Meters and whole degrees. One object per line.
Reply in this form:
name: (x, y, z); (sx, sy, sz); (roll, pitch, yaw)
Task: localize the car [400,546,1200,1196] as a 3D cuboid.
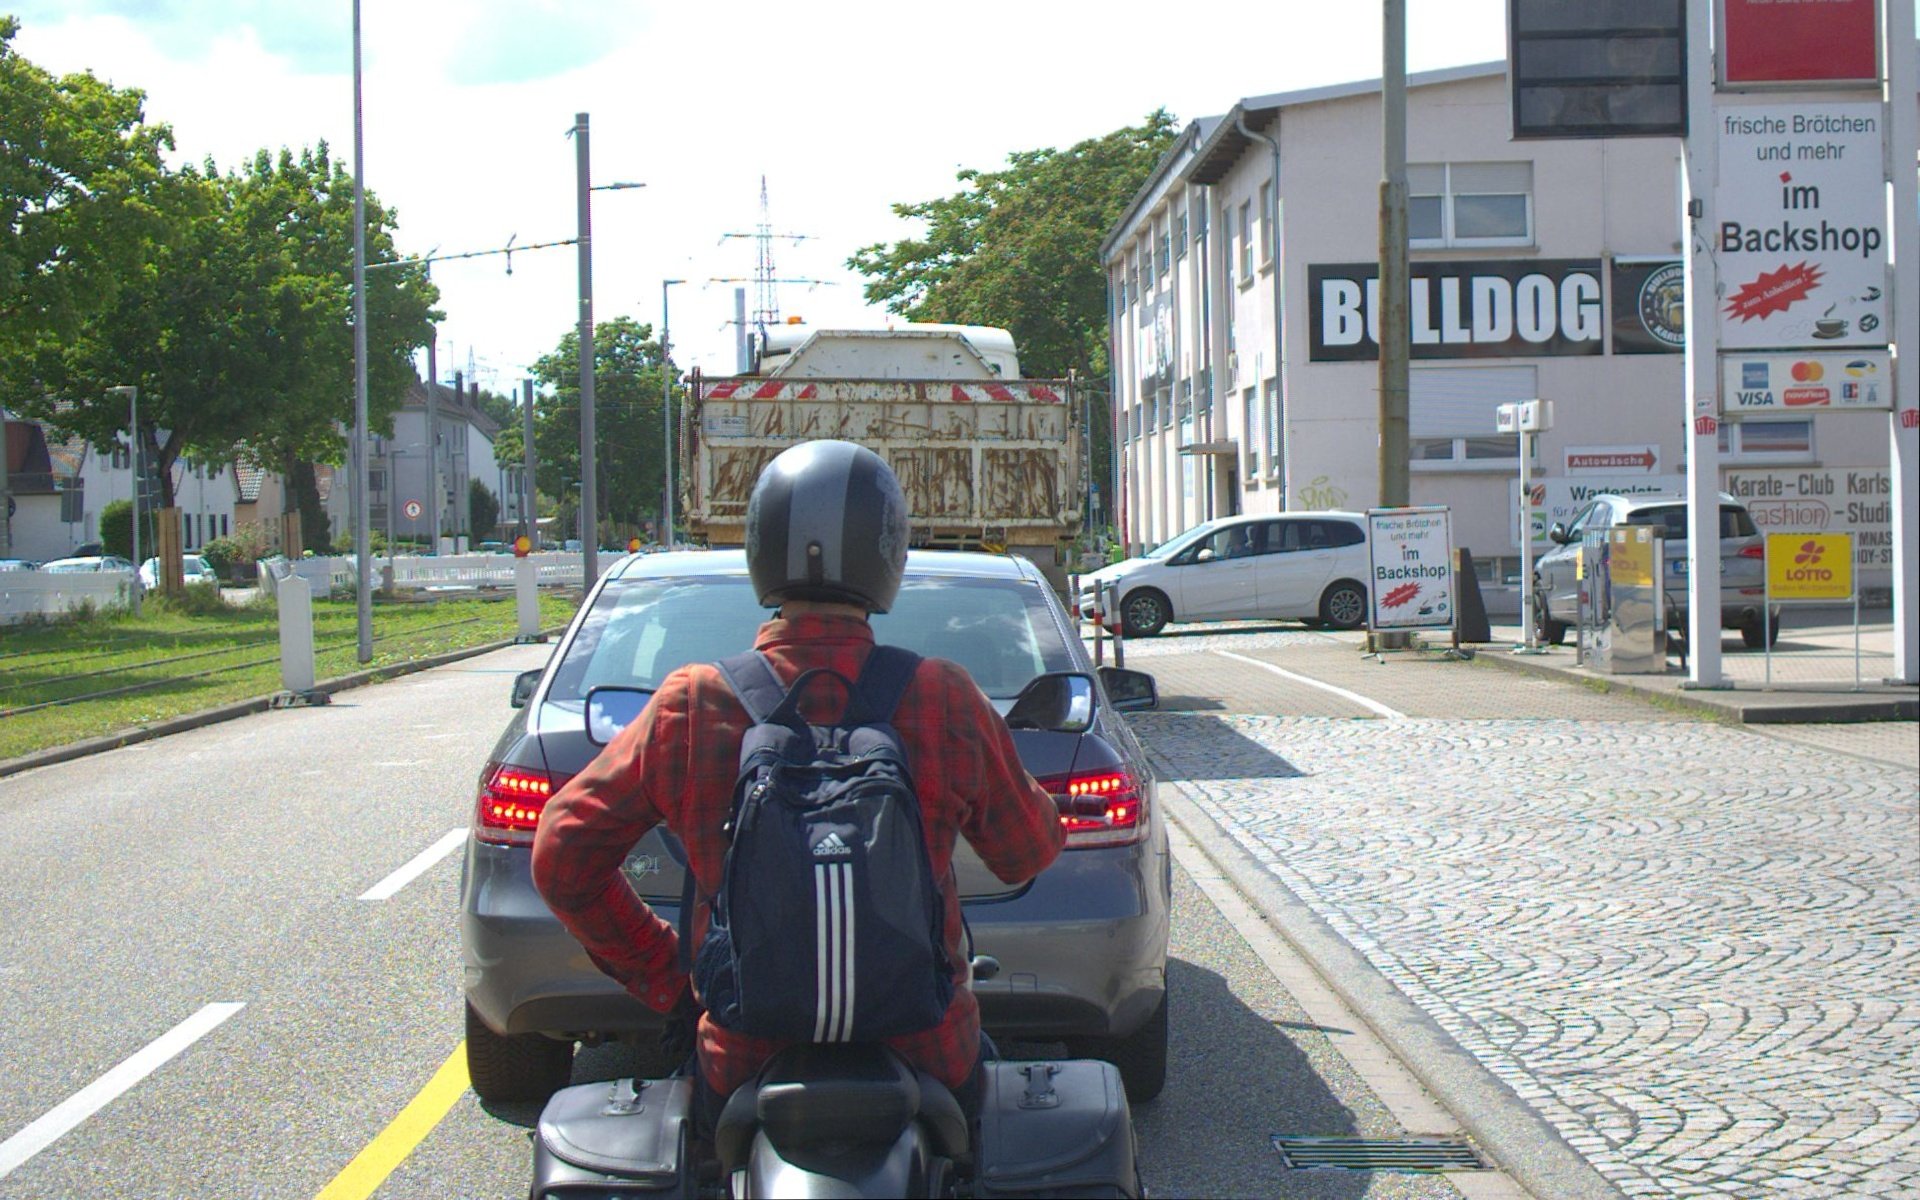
car: (-0.392, 0.595, 9.917); (1.823, 1.447, 4.000); (1, 1, -1)

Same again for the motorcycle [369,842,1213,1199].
motorcycle: (-0.204, 0.955, 5.333); (0.979, 0.894, 2.653); (-1, 1, -1)

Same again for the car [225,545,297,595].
car: (-25.432, -1.104, 125.231); (1.776, 1.717, 4.128); (-1, 1, 0)

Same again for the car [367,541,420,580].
car: (-26.456, -1.858, 160.650); (1.776, 1.717, 4.250); (-1, 1, 0)

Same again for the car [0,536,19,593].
car: (-30.054, -1.064, 104.394); (1.776, 1.717, 4.128); (-1, 1, 0)

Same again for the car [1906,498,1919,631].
car: (11.737, -0.384, 37.087); (1.806, 1.498, 3.834); (-1, 1, -3)

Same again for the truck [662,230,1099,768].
truck: (-0.537, -0.716, 25.358); (2.638, 3.285, 8.057); (-1, 1, -1)

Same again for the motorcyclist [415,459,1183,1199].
motorcyclist: (-0.207, 0.613, 5.022); (0.979, 1.597, 1.088); (-1, 1, -1)

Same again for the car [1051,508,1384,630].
car: (3.503, -0.440, 47.074); (4.229, 1.537, 1.673); (-1, 1, -11)

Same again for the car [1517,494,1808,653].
car: (7.382, -0.309, 36.517); (1.667, 1.557, 4.245); (-1, 1, -8)

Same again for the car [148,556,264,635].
car: (-17.502, -0.133, 79.951); (1.776, 1.717, 4.128); (-1, 1, 0)
